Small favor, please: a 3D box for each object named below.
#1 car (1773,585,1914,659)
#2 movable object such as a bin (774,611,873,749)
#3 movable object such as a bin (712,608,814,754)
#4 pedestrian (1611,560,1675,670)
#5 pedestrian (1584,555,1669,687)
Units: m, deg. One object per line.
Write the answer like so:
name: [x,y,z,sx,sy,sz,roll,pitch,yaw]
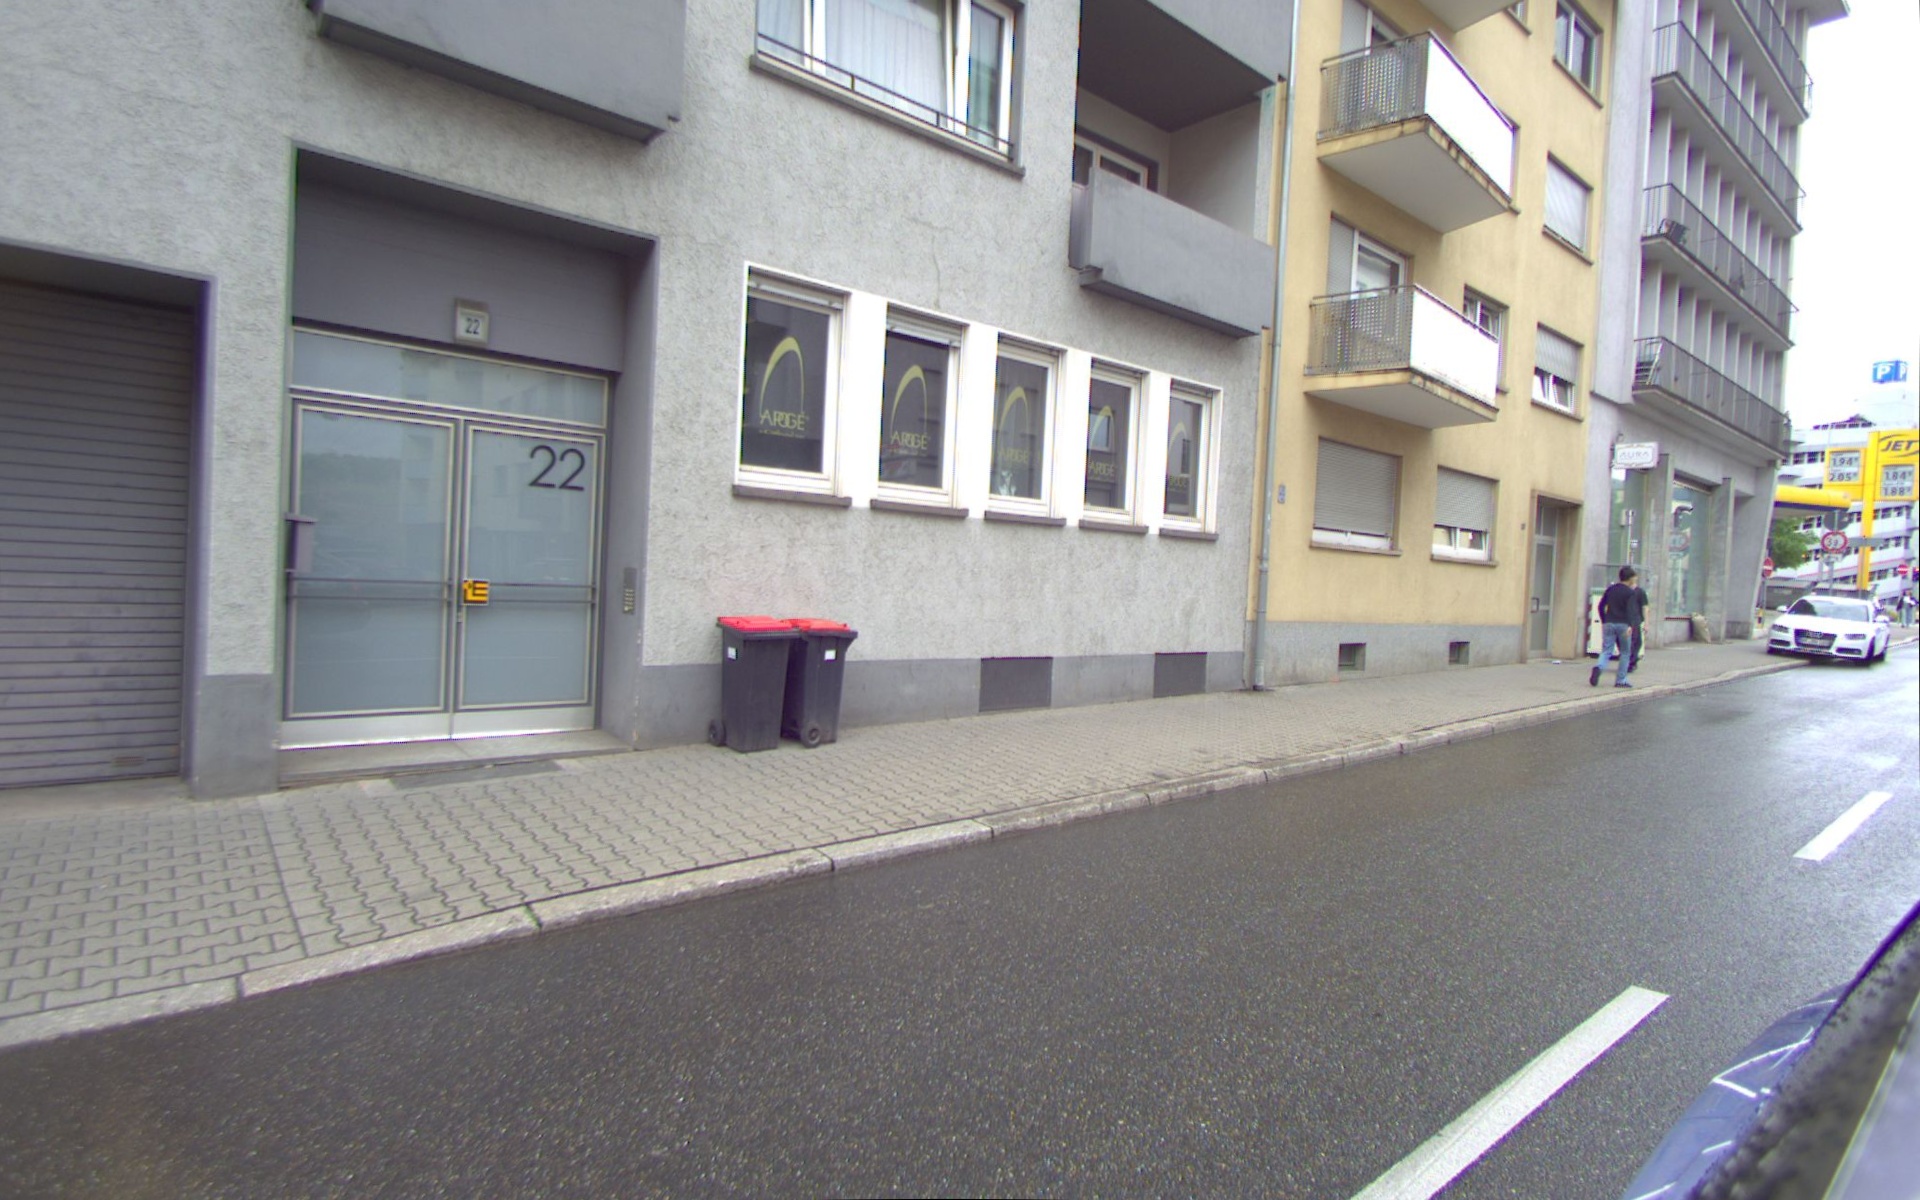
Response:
car: [20.135,0.438,23.016,4.093,1.453,1.803,0,4,-41]
movable object such as a bin: [-1.057,0.595,7.797,0.506,0.961,0.541,0,5,-40]
movable object such as a bin: [-1.453,0.572,7.448,0.506,0.967,0.541,0,5,-40]
pedestrian: [11.495,0.240,17.025,0.678,1.777,0.874,4,3,45]
pedestrian: [9.562,0.280,14.515,1.038,1.799,0.644,0,5,-41]
